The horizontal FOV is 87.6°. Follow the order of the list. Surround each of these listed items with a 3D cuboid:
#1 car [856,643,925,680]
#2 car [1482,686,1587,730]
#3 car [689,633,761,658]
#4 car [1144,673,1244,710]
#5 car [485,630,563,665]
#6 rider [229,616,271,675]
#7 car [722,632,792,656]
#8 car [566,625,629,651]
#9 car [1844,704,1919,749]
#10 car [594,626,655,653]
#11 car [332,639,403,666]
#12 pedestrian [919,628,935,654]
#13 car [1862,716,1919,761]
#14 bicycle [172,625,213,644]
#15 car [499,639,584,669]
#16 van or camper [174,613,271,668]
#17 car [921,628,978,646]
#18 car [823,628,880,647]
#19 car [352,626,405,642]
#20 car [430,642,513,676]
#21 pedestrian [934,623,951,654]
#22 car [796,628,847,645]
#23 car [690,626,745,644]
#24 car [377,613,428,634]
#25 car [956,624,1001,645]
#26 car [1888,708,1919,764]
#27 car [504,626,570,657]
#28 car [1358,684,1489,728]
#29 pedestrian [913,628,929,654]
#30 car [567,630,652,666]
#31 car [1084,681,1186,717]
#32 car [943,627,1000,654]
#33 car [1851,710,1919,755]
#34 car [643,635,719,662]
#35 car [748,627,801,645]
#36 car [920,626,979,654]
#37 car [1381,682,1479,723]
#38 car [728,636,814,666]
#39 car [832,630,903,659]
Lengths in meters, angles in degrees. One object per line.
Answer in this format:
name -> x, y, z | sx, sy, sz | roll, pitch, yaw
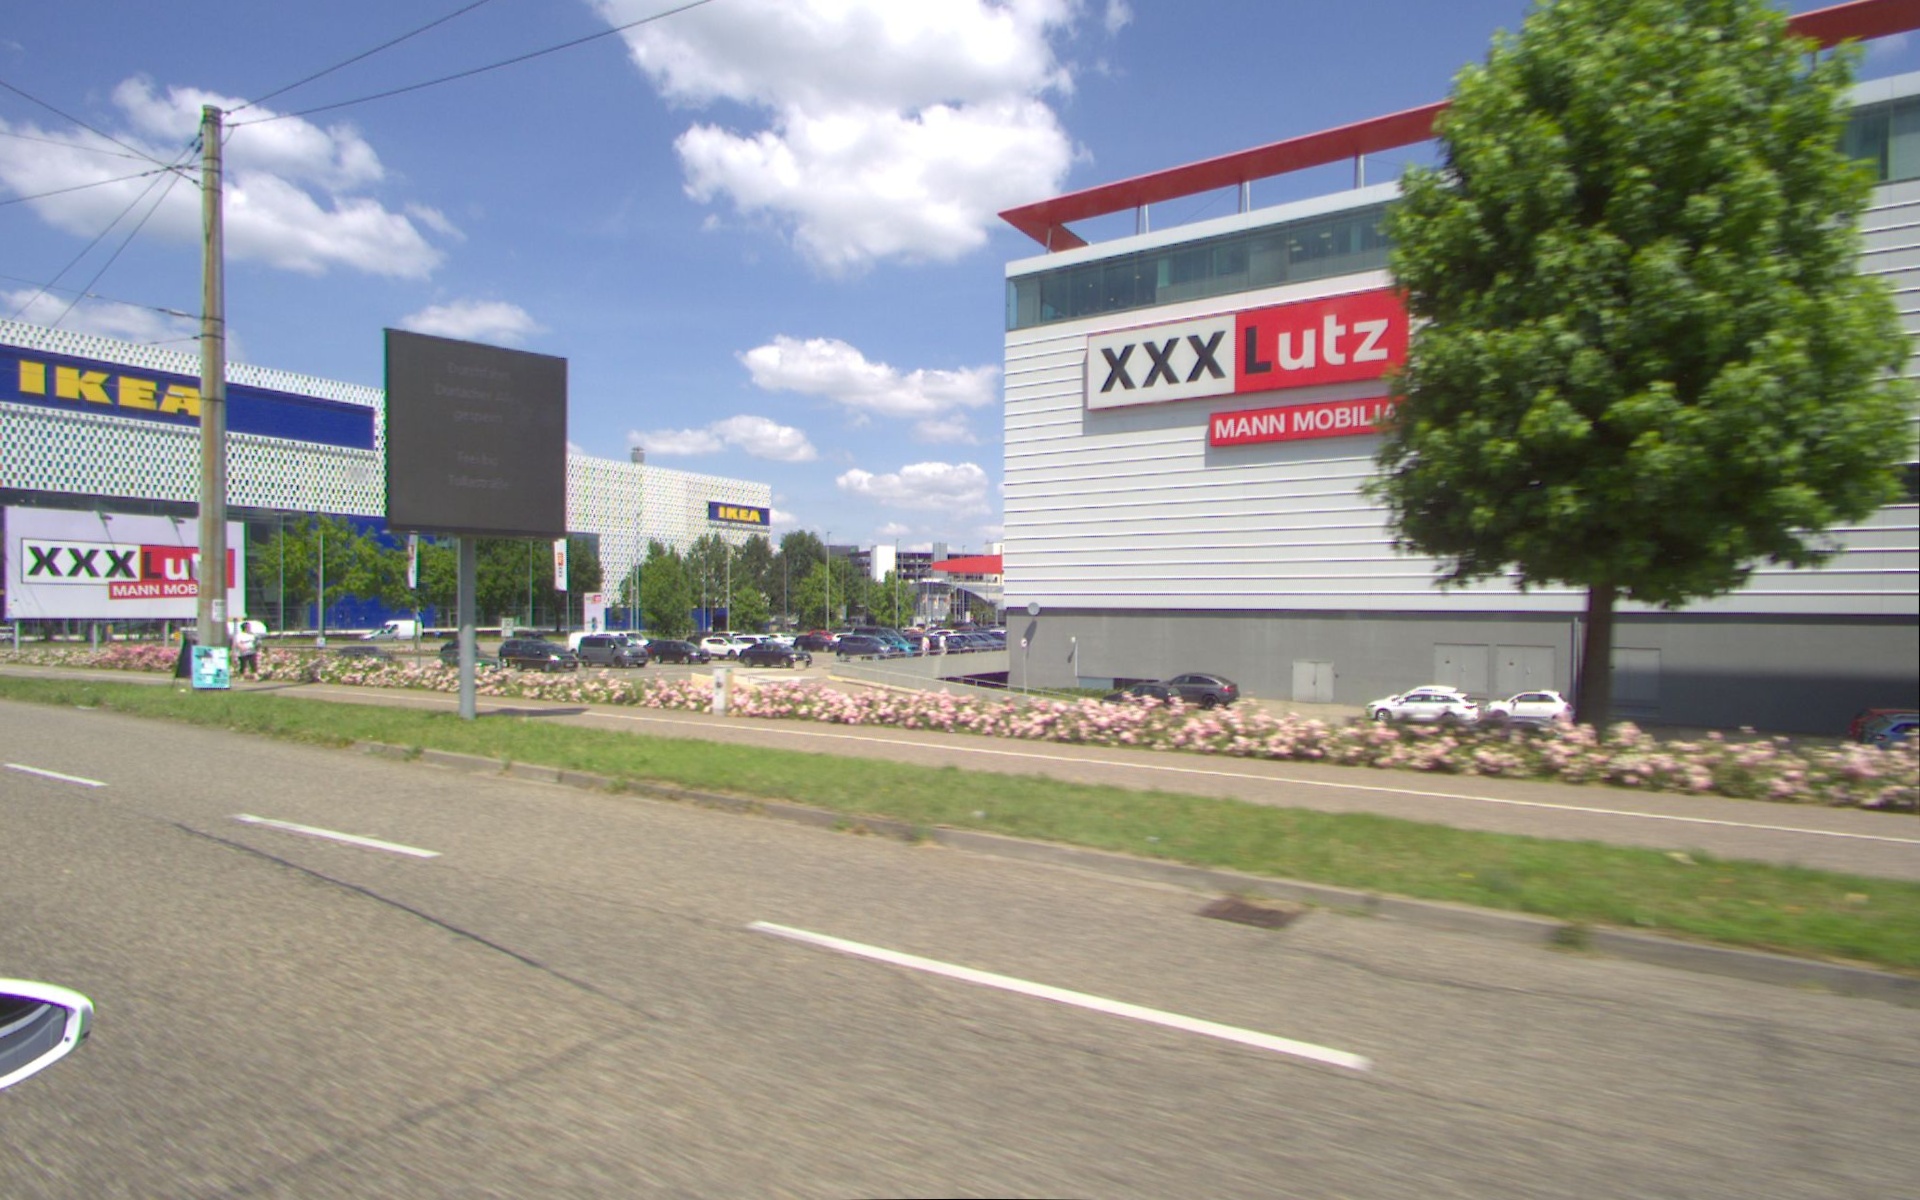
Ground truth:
car -> -4.695, 4.118, 67.311 | 4.271, 2.357, 1.991 | 0, -2, 32
car -> 25.351, 4.737, 44.251 | 3.942, 1.632, 1.991 | -1, -2, 32
car -> -16.412, 3.136, 69.928 | 4.929, 1.631, 1.991 | 0, -2, 32
car -> 11.718, 4.559, 50.306 | 4.523, 1.632, 1.991 | -1, -2, 32
car -> -27.138, 2.934, 62.294 | 4.929, 2.040, 1.989 | 0, 0, 32
rider -> -18.162, 1.168, 25.610 | 0.609, 1.476, 0.668 | 0, -1, 31
car -> -14.636, 3.148, 72.108 | 4.929, 1.671, 1.991 | 0, -2, 32
car -> -28.113, 2.937, 77.608 | 4.929, 1.876, 1.991 | 0, -2, 32
car -> 35.902, 4.753, 37.447 | 3.942, 1.465, 1.991 | -1, -2, 32
car -> -26.869, 3.133, 80.128 | 4.929, 2.032, 1.991 | 0, -2, 32
car -> -37.475, 3.293, 63.300 | 4.701, 1.557, 1.990 | -1, 0, 32
pedestrian -> -2.104, 2.584, 63.086 | 0.725, 1.577, 0.740 | 0, -1, 30
car -> 32.966, 4.690, 33.475 | 3.942, 1.338, 1.602 | -1, -2, 32
bicycle -> -60.990, 2.738, 79.577 | 0.975, 1.500, 2.416 | 0, -2, 36
car -> -23.958, 3.046, 57.245 | 4.929, 1.570, 1.991 | -1, -2, 32
van or camper -> -43.546, 2.330, 59.041 | 7.128, 3.058, 2.500 | -1, -2, 36
car -> -0.976, 3.434, 92.426 | 4.929, 1.631, 1.991 | 0, -2, 32
car -> -9.801, 3.343, 89.934 | 4.929, 1.631, 1.991 | 0, -2, 32
car -> -61.782, 3.615, 106.420 | 1.973, 1.504, 4.487 | 0, -3, 35
car -> -25.913, 3.095, 53.062 | 4.241, 1.517, 1.989 | 0, 1, 32
pedestrian -> -1.088, 2.405, 62.516 | 0.725, 1.893, 0.740 | 0, -1, 30
car -> -13.974, 3.694, 101.013 | 4.929, 1.631, 1.991 | 0, -2, 32
car -> -22.922, 3.295, 94.733 | 4.921, 1.631, 1.994 | 0, -2, 27
car -> -64.465, 2.720, 115.842 | 1.973, 2.338, 4.747 | 0, -2, 35
car -> 1.799, 3.389, 97.740 | 3.942, 2.039, 1.991 | -1, -2, 32
car -> 31.970, 4.350, 31.356 | 3.942, 1.632, 1.991 | -1, -2, 32
car -> -31.287, 3.041, 74.049 | 4.929, 2.162, 1.991 | 0, -2, 32
car -> 20.450, 4.633, 44.206 | 5.072, 1.632, 1.991 | -1, -2, 32
pedestrian -> -2.409, 2.518, 61.953 | 0.725, 1.577, 0.740 | 0, -1, 30
car -> -21.522, 2.911, 61.387 | 5.455, 2.039, 1.991 | 0, -2, 32
car -> 8.177, 4.578, 46.787 | 4.287, 1.416, 1.992 | -1, -2, 30
car -> 0.884, 3.101, 76.565 | 3.942, 2.039, 1.991 | -1, -2, 32
car -> 34.179, 4.717, 35.241 | 3.942, 1.403, 1.641 | -1, -2, 32
car -> -18.271, 3.134, 65.403 | 4.929, 1.631, 1.991 | 0, -2, 32
car -> -17.501, 3.426, 94.517 | 4.929, 1.631, 1.991 | 0, -2, 32
car -> -0.755, 2.981, 74.512 | 3.942, 2.039, 1.991 | 0, -2, 32
car -> 21.849, 4.729, 46.594 | 3.942, 1.632, 1.991 | -1, -2, 32
car -> -11.142, 2.989, 58.990 | 4.929, 1.631, 1.991 | 0, -2, 32
car -> -6.021, 2.901, 65.013 | 4.271, 1.803, 1.991 | 0, -3, 32
